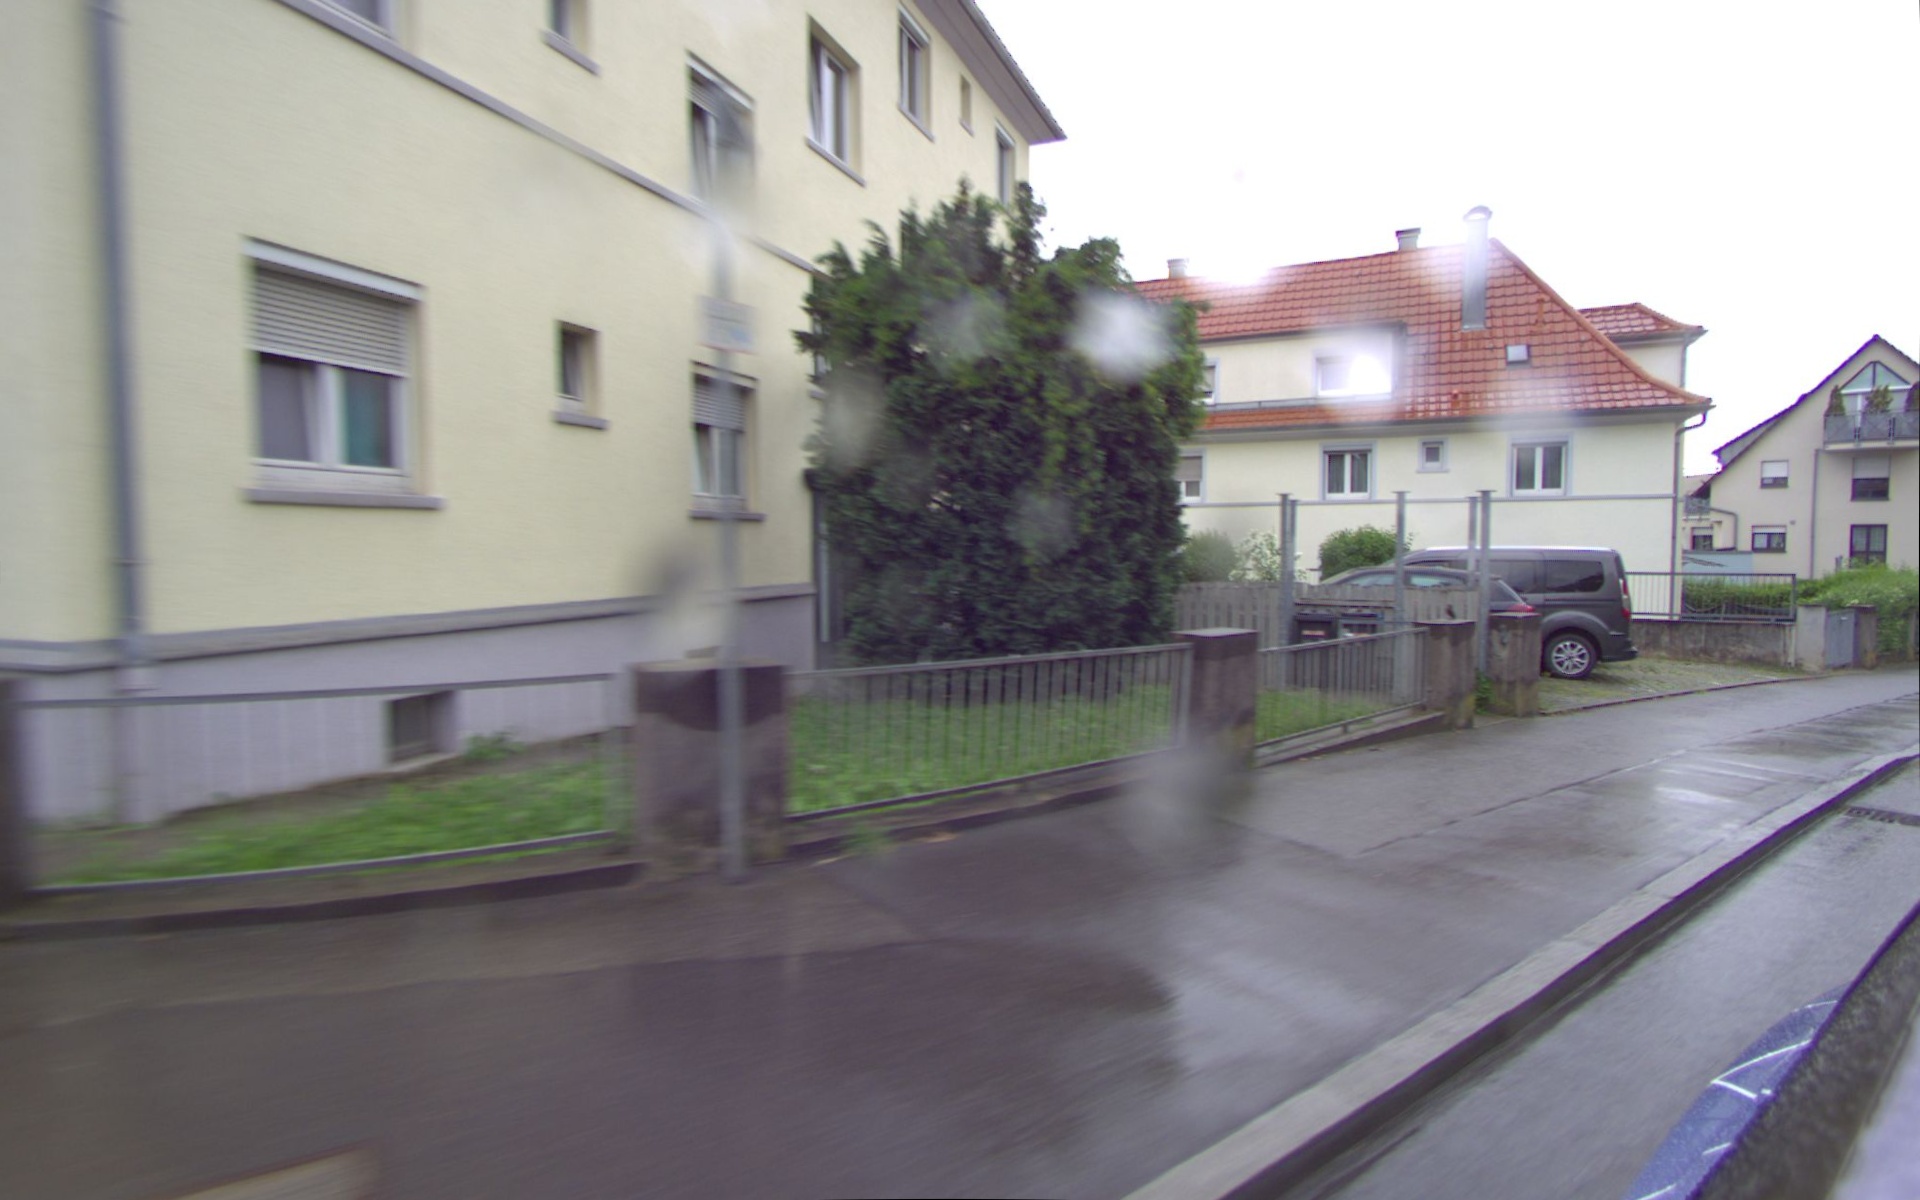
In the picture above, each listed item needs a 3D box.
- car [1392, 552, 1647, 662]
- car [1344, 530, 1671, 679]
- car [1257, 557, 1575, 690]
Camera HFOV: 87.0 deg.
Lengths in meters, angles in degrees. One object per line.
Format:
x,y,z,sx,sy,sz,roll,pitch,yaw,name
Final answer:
9.181,0.037,16.951,3.489,1.492,1.675,4,4,25,car
7.781,-0.035,14.826,3.892,1.802,1.758,4,4,23,car
5.788,0.221,13.215,3.484,1.355,1.677,4,4,21,car
